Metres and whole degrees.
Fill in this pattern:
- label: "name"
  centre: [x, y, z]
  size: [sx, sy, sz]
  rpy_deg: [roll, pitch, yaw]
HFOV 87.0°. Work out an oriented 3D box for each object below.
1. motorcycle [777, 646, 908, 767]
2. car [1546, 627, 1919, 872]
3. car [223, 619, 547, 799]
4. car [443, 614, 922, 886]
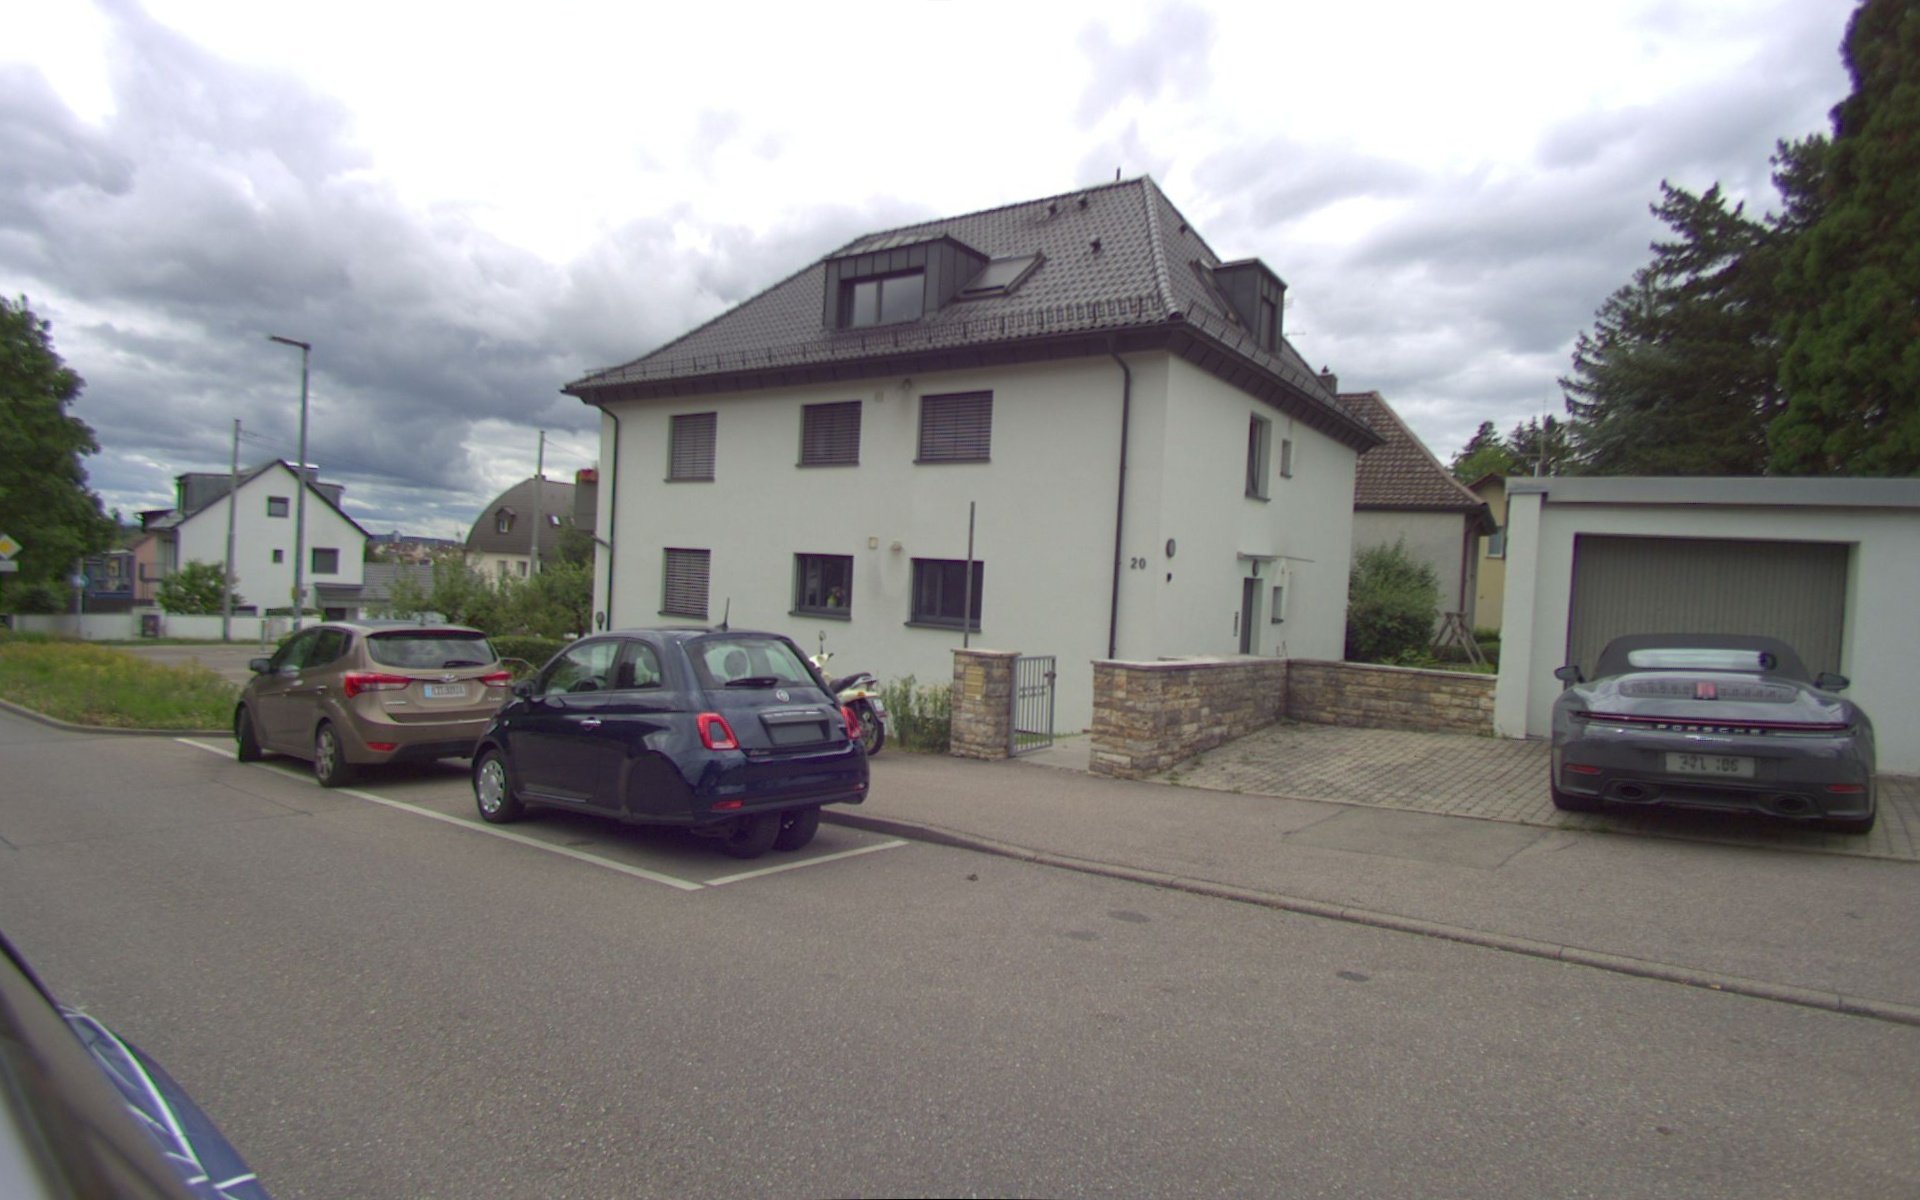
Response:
- label: "motorcycle"
  centre: [-1.337, 1.135, 11.252]
  size: [0.424, 1.169, 1.865]
  rpy_deg: [3, -2, -42]
- label: "car"
  centre: [5.976, 0.920, 8.086]
  size: [1.900, 1.378, 4.249]
  rpy_deg: [-1, -2, 35]
- label: "car"
  centre: [-6.323, 1.011, 10.977]
  size: [3.869, 1.597, 1.858]
  rpy_deg: [-1, -2, 41]
- label: "car"
  centre: [-2.191, 0.894, 7.630]
  size: [3.505, 1.548, 1.858]
  rpy_deg: [-1, -2, 41]
